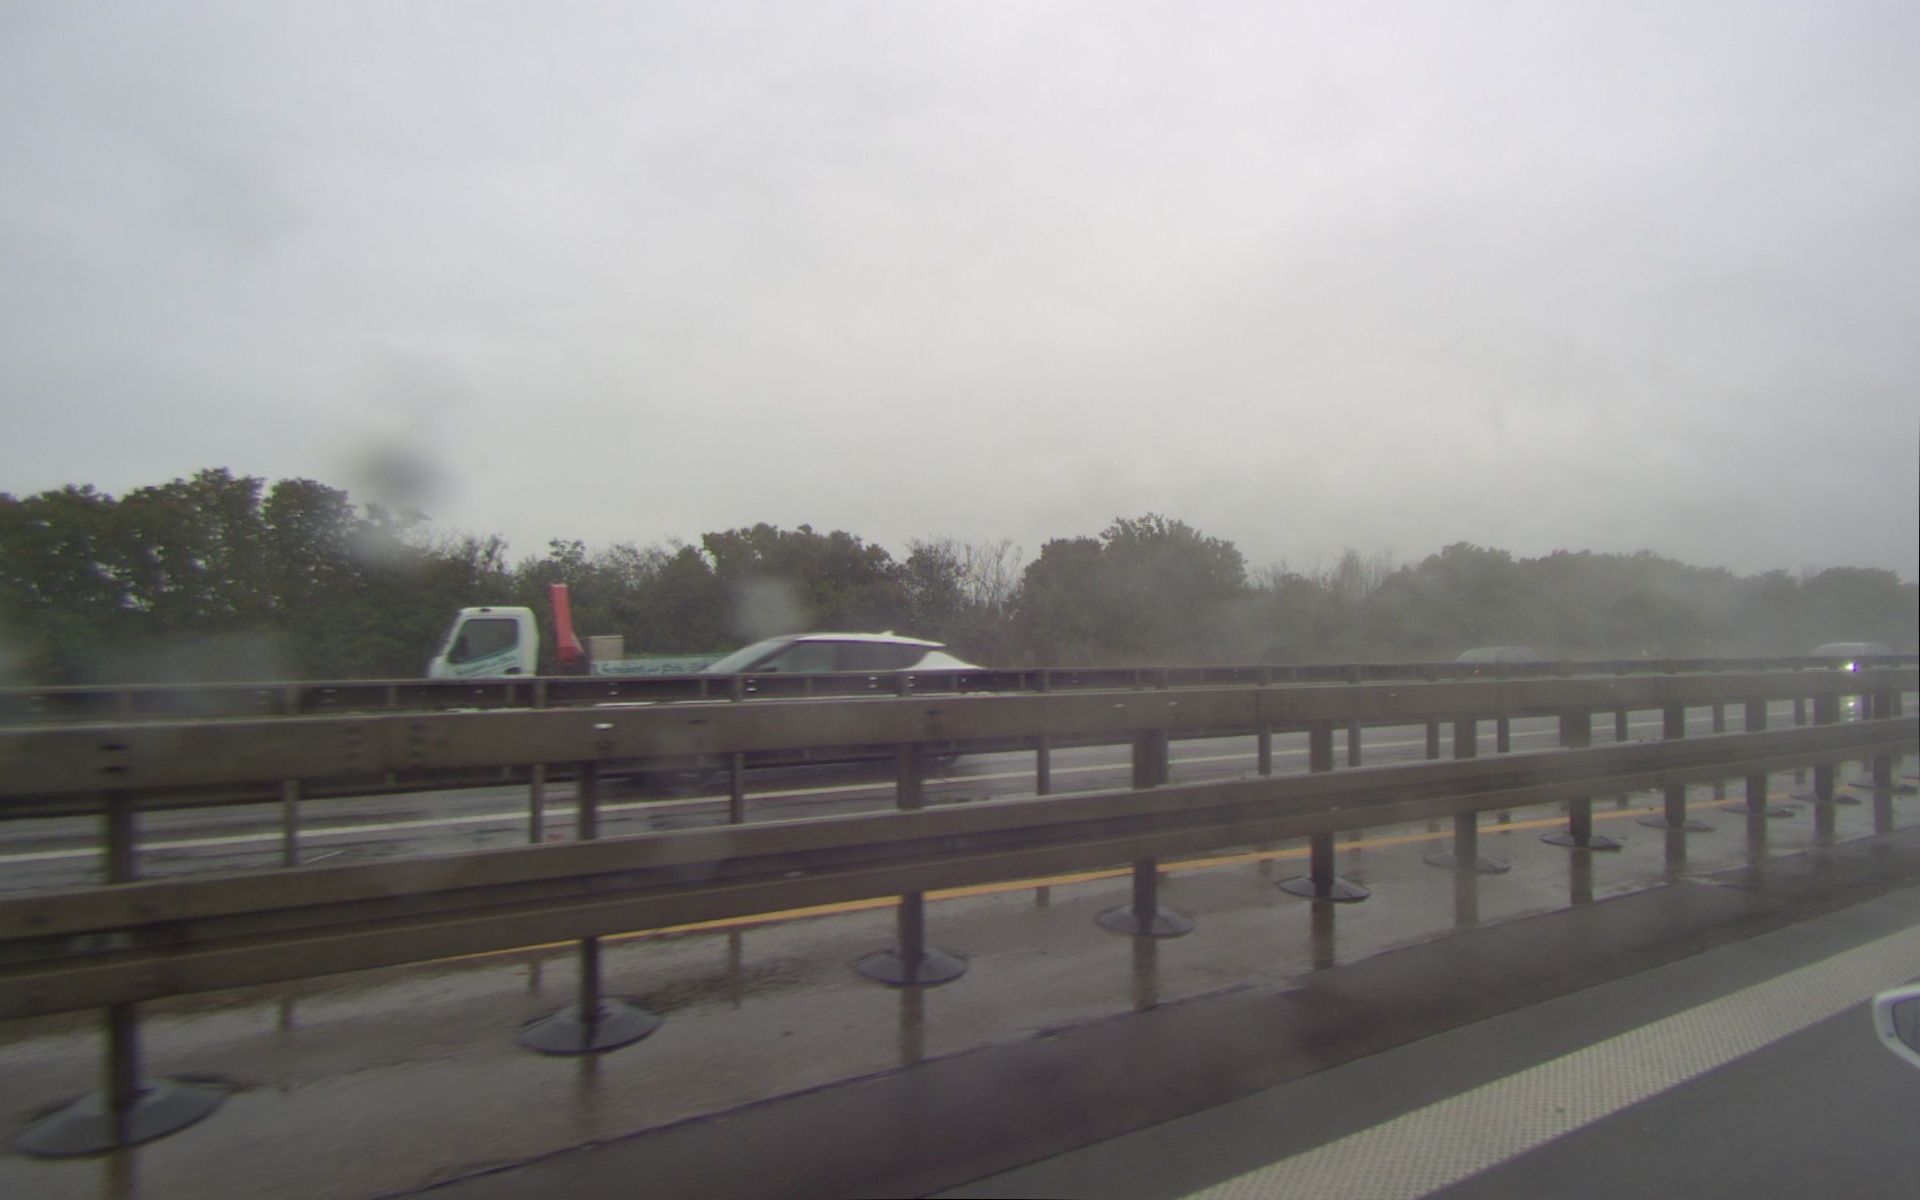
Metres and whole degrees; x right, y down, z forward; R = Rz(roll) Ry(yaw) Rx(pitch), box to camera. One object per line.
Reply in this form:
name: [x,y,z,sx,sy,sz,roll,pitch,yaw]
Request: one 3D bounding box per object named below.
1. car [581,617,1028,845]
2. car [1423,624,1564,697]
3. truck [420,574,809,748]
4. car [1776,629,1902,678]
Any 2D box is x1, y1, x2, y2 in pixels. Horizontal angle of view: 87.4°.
car: [-1.726,1.316,11.629,4.711,2.132,1.984,1,0,-31]
car: [16.973,1.874,31.911,4.335,2.132,1.984,1,0,-31]
truck: [-6.030,0.989,17.876,6.191,2.654,2.316,1,0,-31]
car: [30.535,1.820,34.877,4.601,1.551,1.984,1,0,-31]
